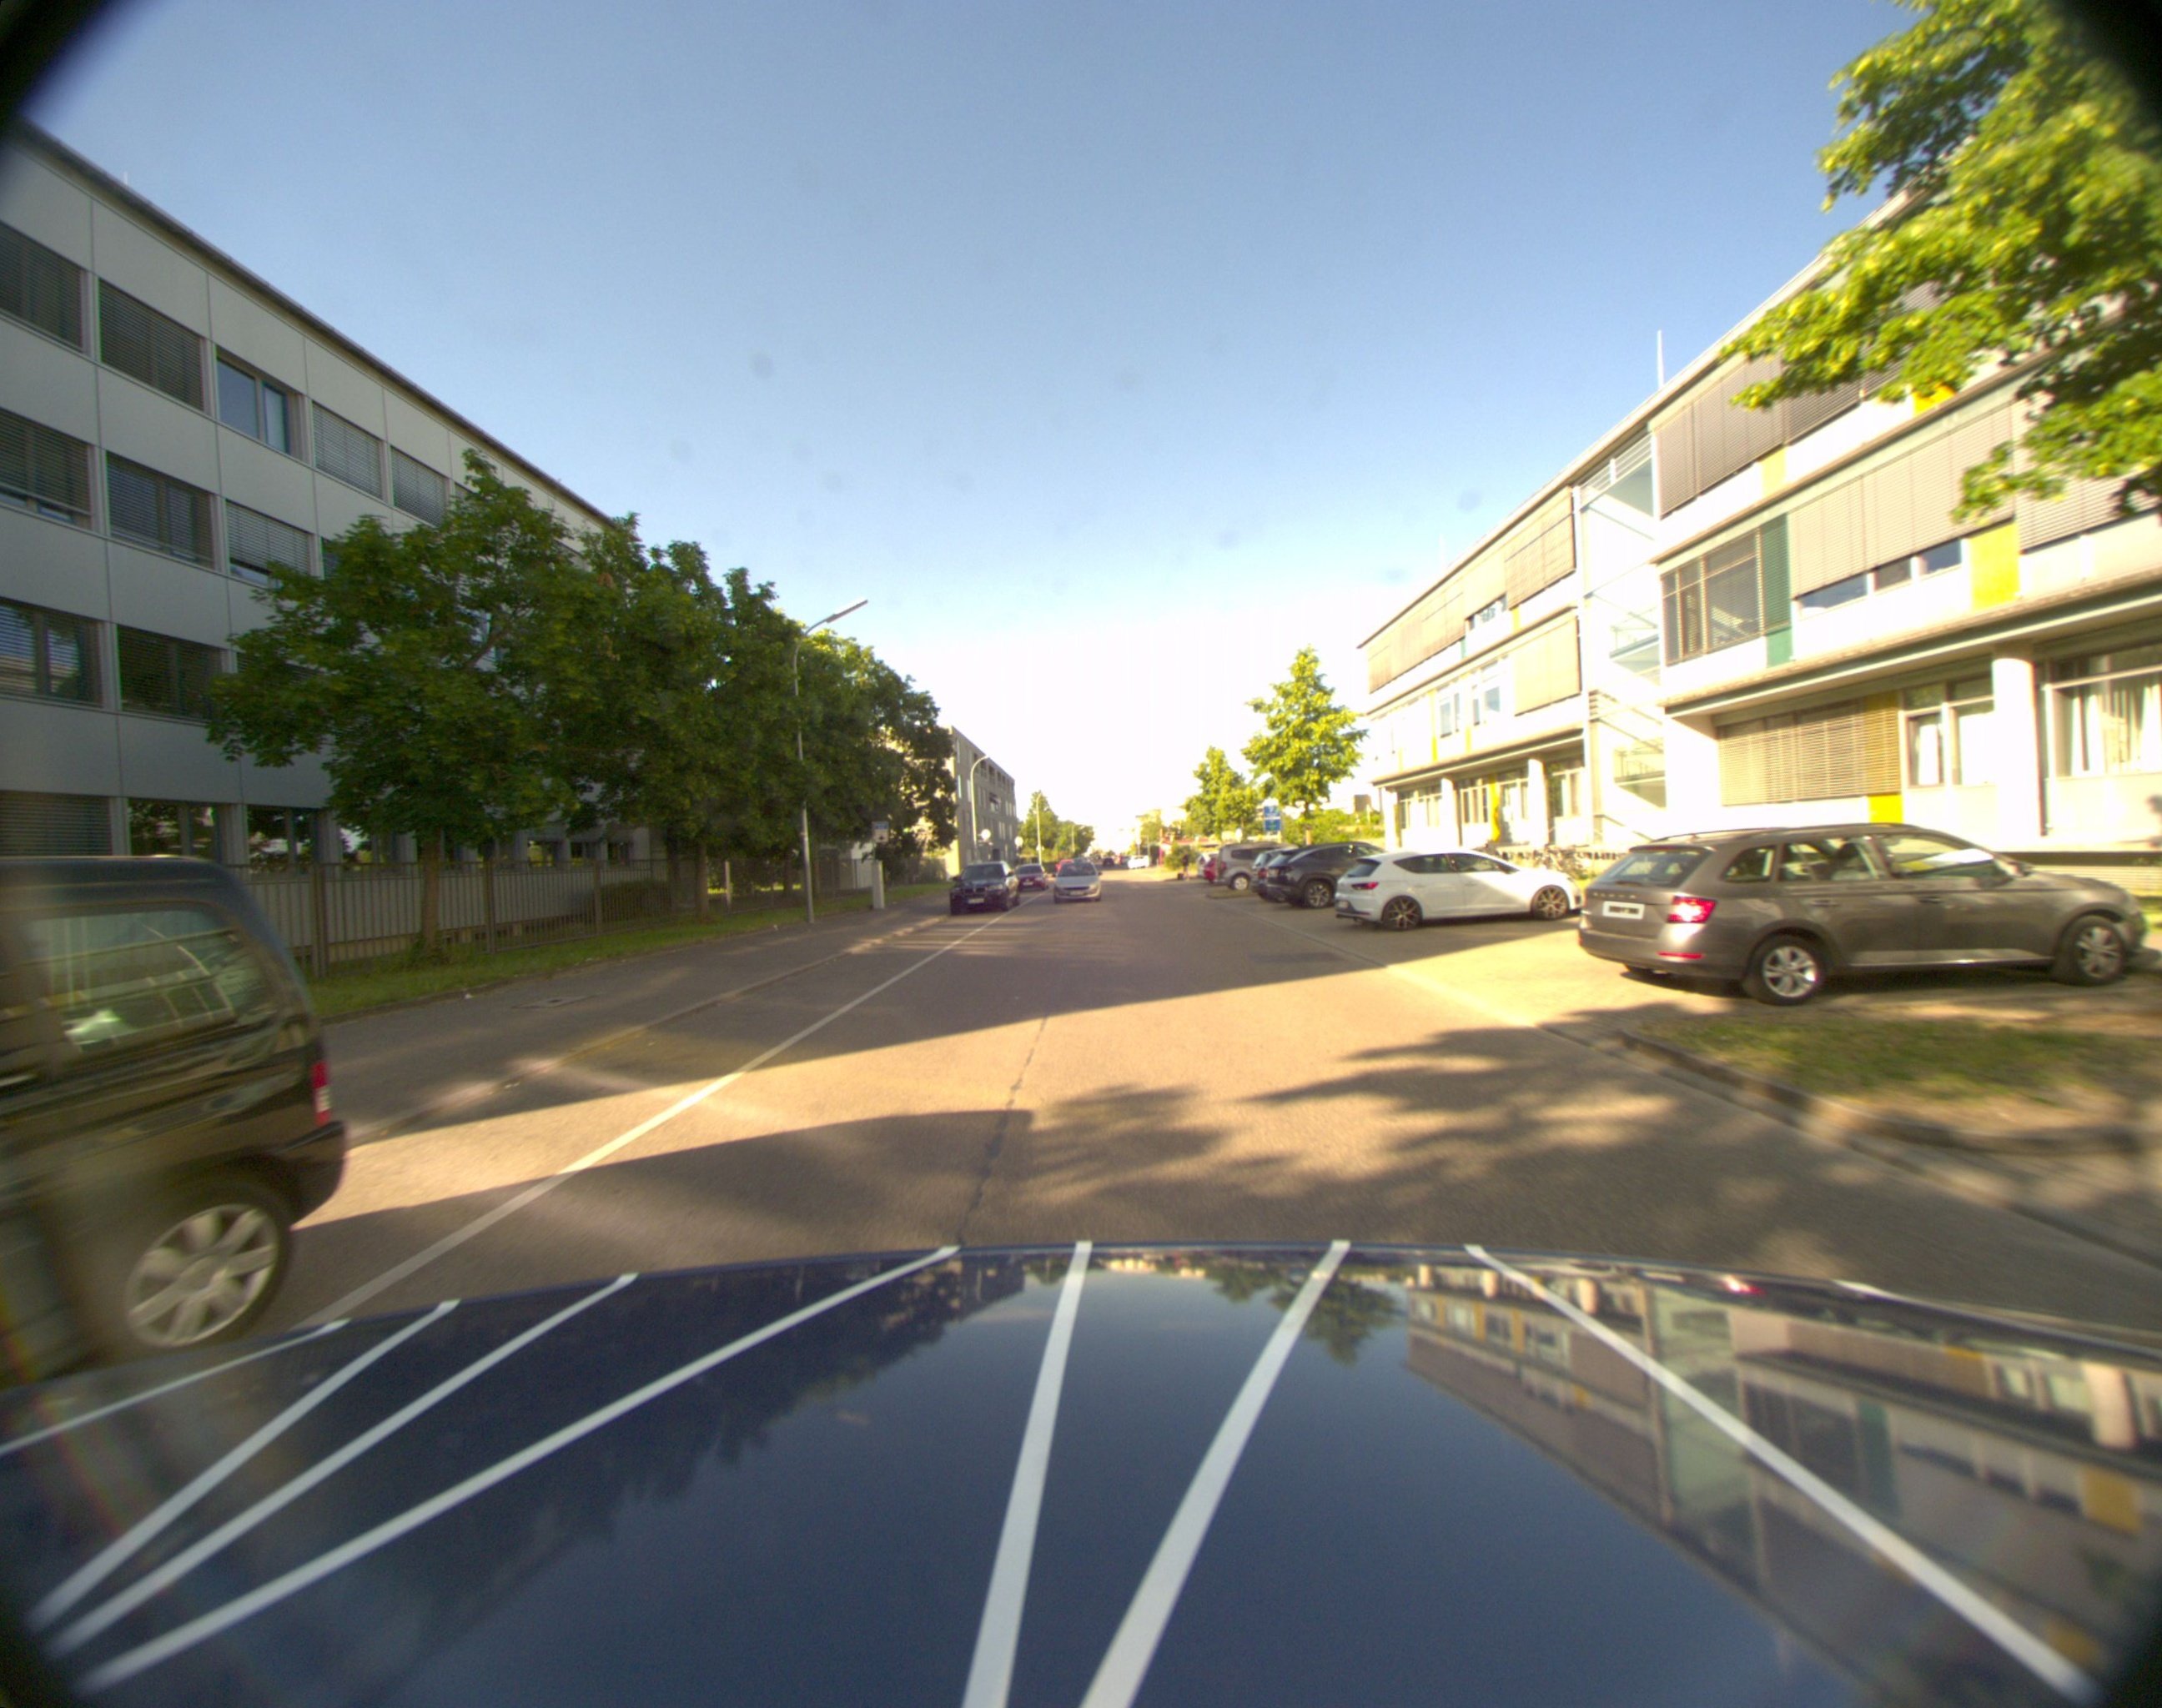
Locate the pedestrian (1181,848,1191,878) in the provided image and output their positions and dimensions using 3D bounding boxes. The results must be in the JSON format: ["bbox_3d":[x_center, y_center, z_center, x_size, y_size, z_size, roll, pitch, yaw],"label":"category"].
[{"bbox_3d":[6.277,0.542,45.499,0.369,1.712,0.479,-5,5,-2],"label":"pedestrian"}]

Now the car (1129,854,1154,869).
[{"bbox_3d":[6.361,0.800,80.918,1.999,1.499,3.998,-2,0,-5],"label":"car"}]

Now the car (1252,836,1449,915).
[{"bbox_3d":[6.959,0.520,19.958,4.360,1.618,1.999,-5,1,-2],"label":"car"}]

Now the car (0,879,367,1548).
[{"bbox_3d":[-3.885,1.061,0.949,1.706,1.784,4.295,-5,0,2],"label":"car"}]

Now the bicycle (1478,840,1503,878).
[{"bbox_3d":[13.364,0.143,24.838,0.462,1.090,1.514,-4,2,21],"label":"bicycle"}]

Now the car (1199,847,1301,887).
[{"bbox_3d":[7.784,0.572,35.344,4.357,1.452,2.001,-5,0,7],"label":"car"}]

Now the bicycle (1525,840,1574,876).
[{"bbox_3d":[14.864,0.130,24.152,0.519,1.090,1.660,-2,0,1],"label":"bicycle"}]

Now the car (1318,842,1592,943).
[{"bbox_3d":[6.770,0.651,14.073,4.101,1.414,1.823,-5,1,0],"label":"car"}]

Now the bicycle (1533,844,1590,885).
[{"bbox_3d":[13.264,0.274,21.011,0.519,1.072,1.660,-2,0,1],"label":"bicycle"}]

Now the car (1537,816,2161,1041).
[{"bbox_3d":[6.779,0.585,6.990,3.991,1.480,1.823,-5,1,0],"label":"car"}]

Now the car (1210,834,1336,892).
[{"bbox_3d":[7.424,0.357,29.777,4.358,1.852,2.000,-5,0,3],"label":"car"}]

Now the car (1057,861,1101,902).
[{"bbox_3d":[-0.034,1.019,29.134,1.551,1.389,3.454,-2,0,1],"label":"car"}]

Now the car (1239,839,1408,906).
[{"bbox_3d":[7.269,0.549,23.074,4.360,1.581,2.000,-5,0,-2],"label":"car"}]

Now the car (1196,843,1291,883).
[{"bbox_3d":[8.080,0.437,38.133,4.357,1.637,2.001,-5,0,7],"label":"car"}]

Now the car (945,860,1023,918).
[{"bbox_3d":[-3.205,1.123,25.978,1.890,1.616,4.295,-5,0,2],"label":"car"}]

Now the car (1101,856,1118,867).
[{"bbox_3d":[4.225,1.141,112.960,1.912,1.499,3.998,-2,0,-5],"label":"car"}]

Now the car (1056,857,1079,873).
[{"bbox_3d":[-1.348,1.052,74.327,1.999,1.382,3.999,-2,0,-3],"label":"car"}]

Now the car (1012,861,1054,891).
[{"bbox_3d":[-2.637,1.183,42.408,1.824,1.435,4.295,-5,0,2],"label":"car"}]
